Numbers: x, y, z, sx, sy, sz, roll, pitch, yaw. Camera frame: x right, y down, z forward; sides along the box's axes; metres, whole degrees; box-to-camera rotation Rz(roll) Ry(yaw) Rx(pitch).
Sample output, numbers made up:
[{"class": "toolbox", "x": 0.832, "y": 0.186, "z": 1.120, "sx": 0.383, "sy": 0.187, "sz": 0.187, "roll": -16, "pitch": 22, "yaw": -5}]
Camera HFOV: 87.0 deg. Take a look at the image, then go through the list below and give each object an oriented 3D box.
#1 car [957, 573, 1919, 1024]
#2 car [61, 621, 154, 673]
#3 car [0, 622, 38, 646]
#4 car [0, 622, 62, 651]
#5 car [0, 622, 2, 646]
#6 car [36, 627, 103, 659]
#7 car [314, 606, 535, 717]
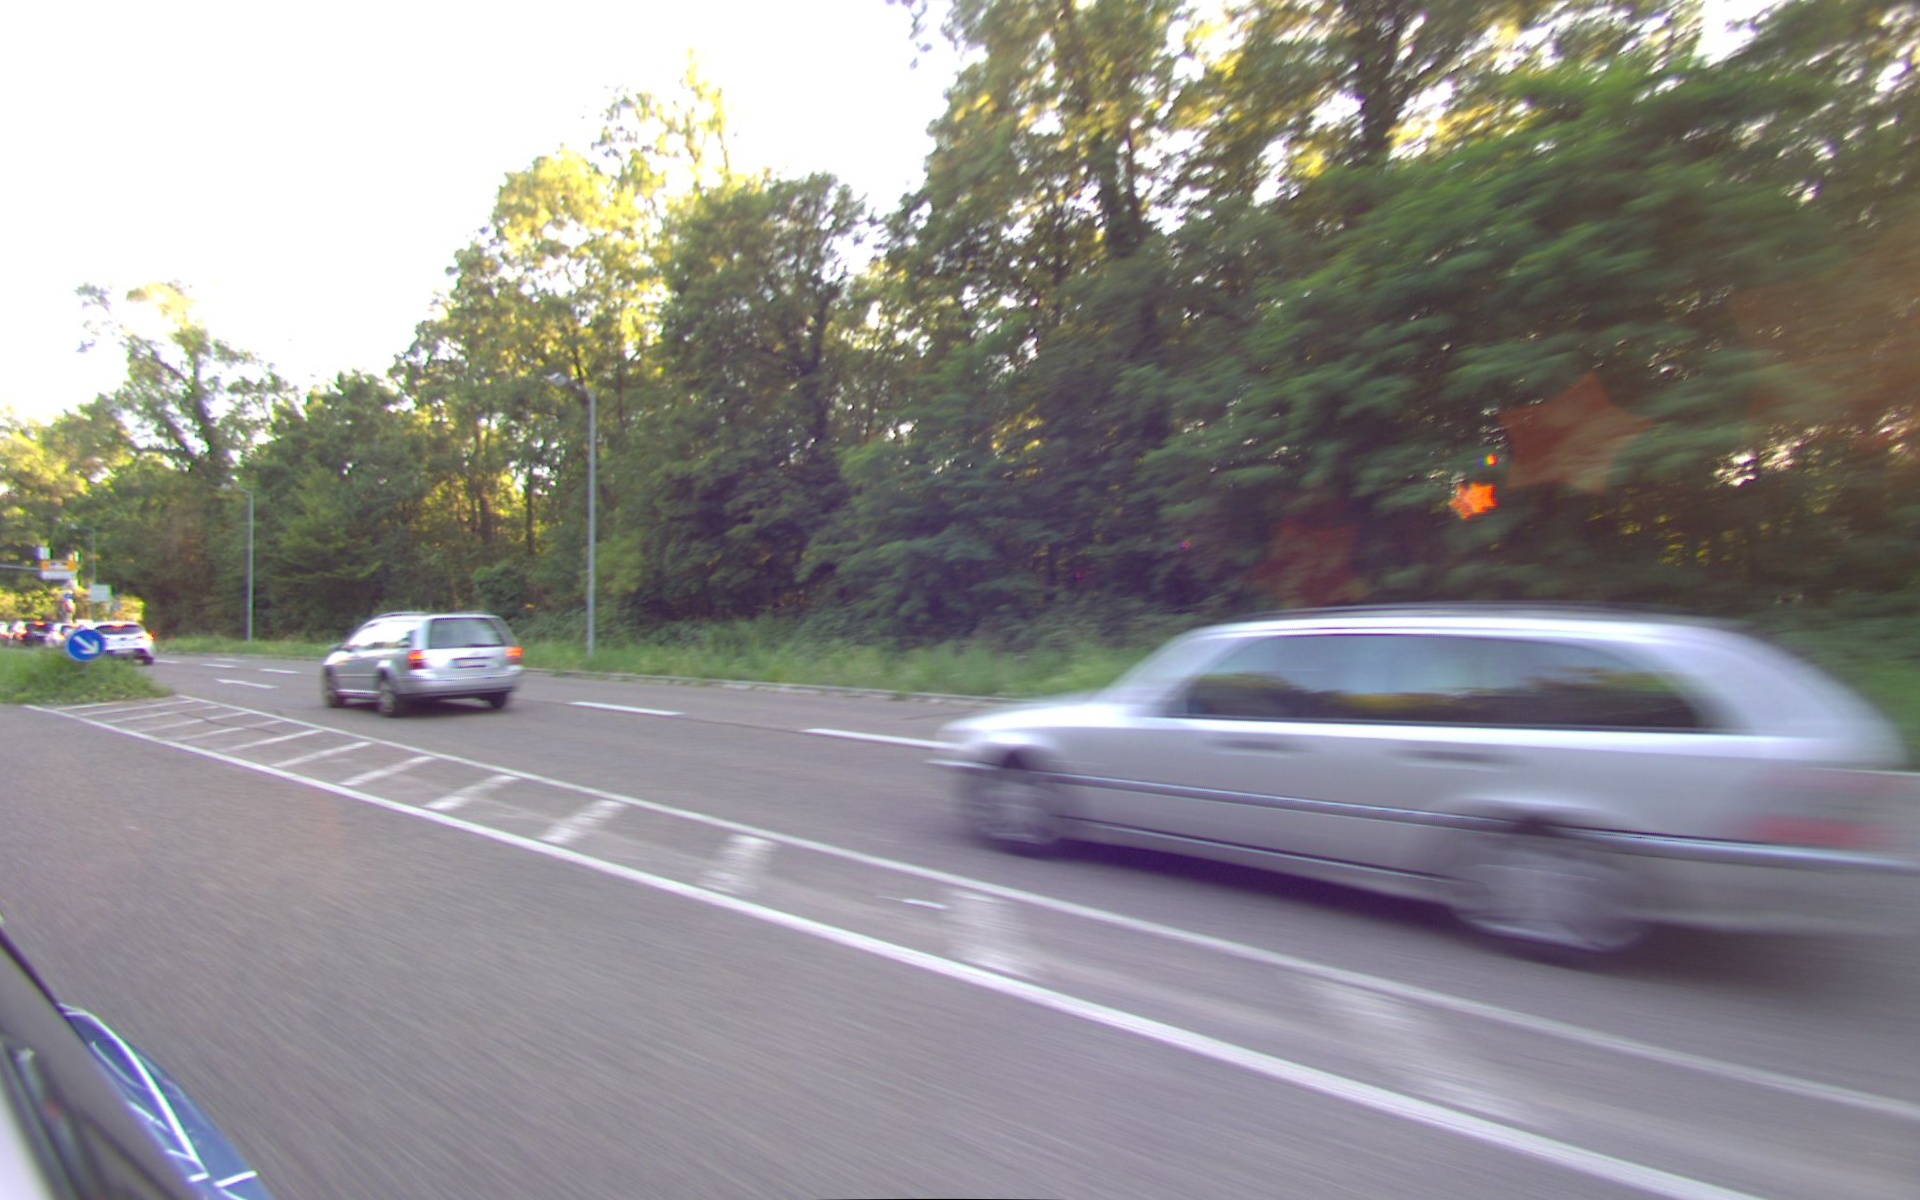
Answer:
[{"class": "car", "x": 2.162, "y": 0.660, "z": 5.110, "sx": 4.375, "sy": 1.408, "sz": 1.701, "roll": -2, "pitch": -1, "yaw": 43}, {"class": "car", "x": -28.115, "y": 1.505, "z": 33.341, "sx": 3.937, "sy": 1.518, "sz": 1.816, "roll": 1, "pitch": 0, "yaw": 42}, {"class": "car", "x": -60.949, "y": 2.182, "z": 65.032, "sx": 4.227, "sy": 1.491, "sz": 1.805, "roll": -1, "pitch": -3, "yaw": 38}, {"class": "car", "x": -55.241, "y": 2.171, "z": 60.162, "sx": 4.645, "sy": 1.640, "sz": 1.974, "roll": -1, "pitch": -3, "yaw": 38}, {"class": "car", "x": -67.465, "y": 2.291, "z": 69.649, "sx": 4.639, "sy": 1.626, "sz": 1.802, "roll": -1, "pitch": -3, "yaw": 41}, {"class": "car", "x": -46.796, "y": 2.226, "z": 53.177, "sx": 3.805, "sy": 1.469, "sz": 1.975, "roll": 1, "pitch": 0, "yaw": 38}, {"class": "car", "x": -8.264, "y": 0.862, "z": 15.446, "sx": 4.173, "sy": 1.457, "sz": 1.697, "roll": -2, "pitch": -1, "yaw": 43}]
